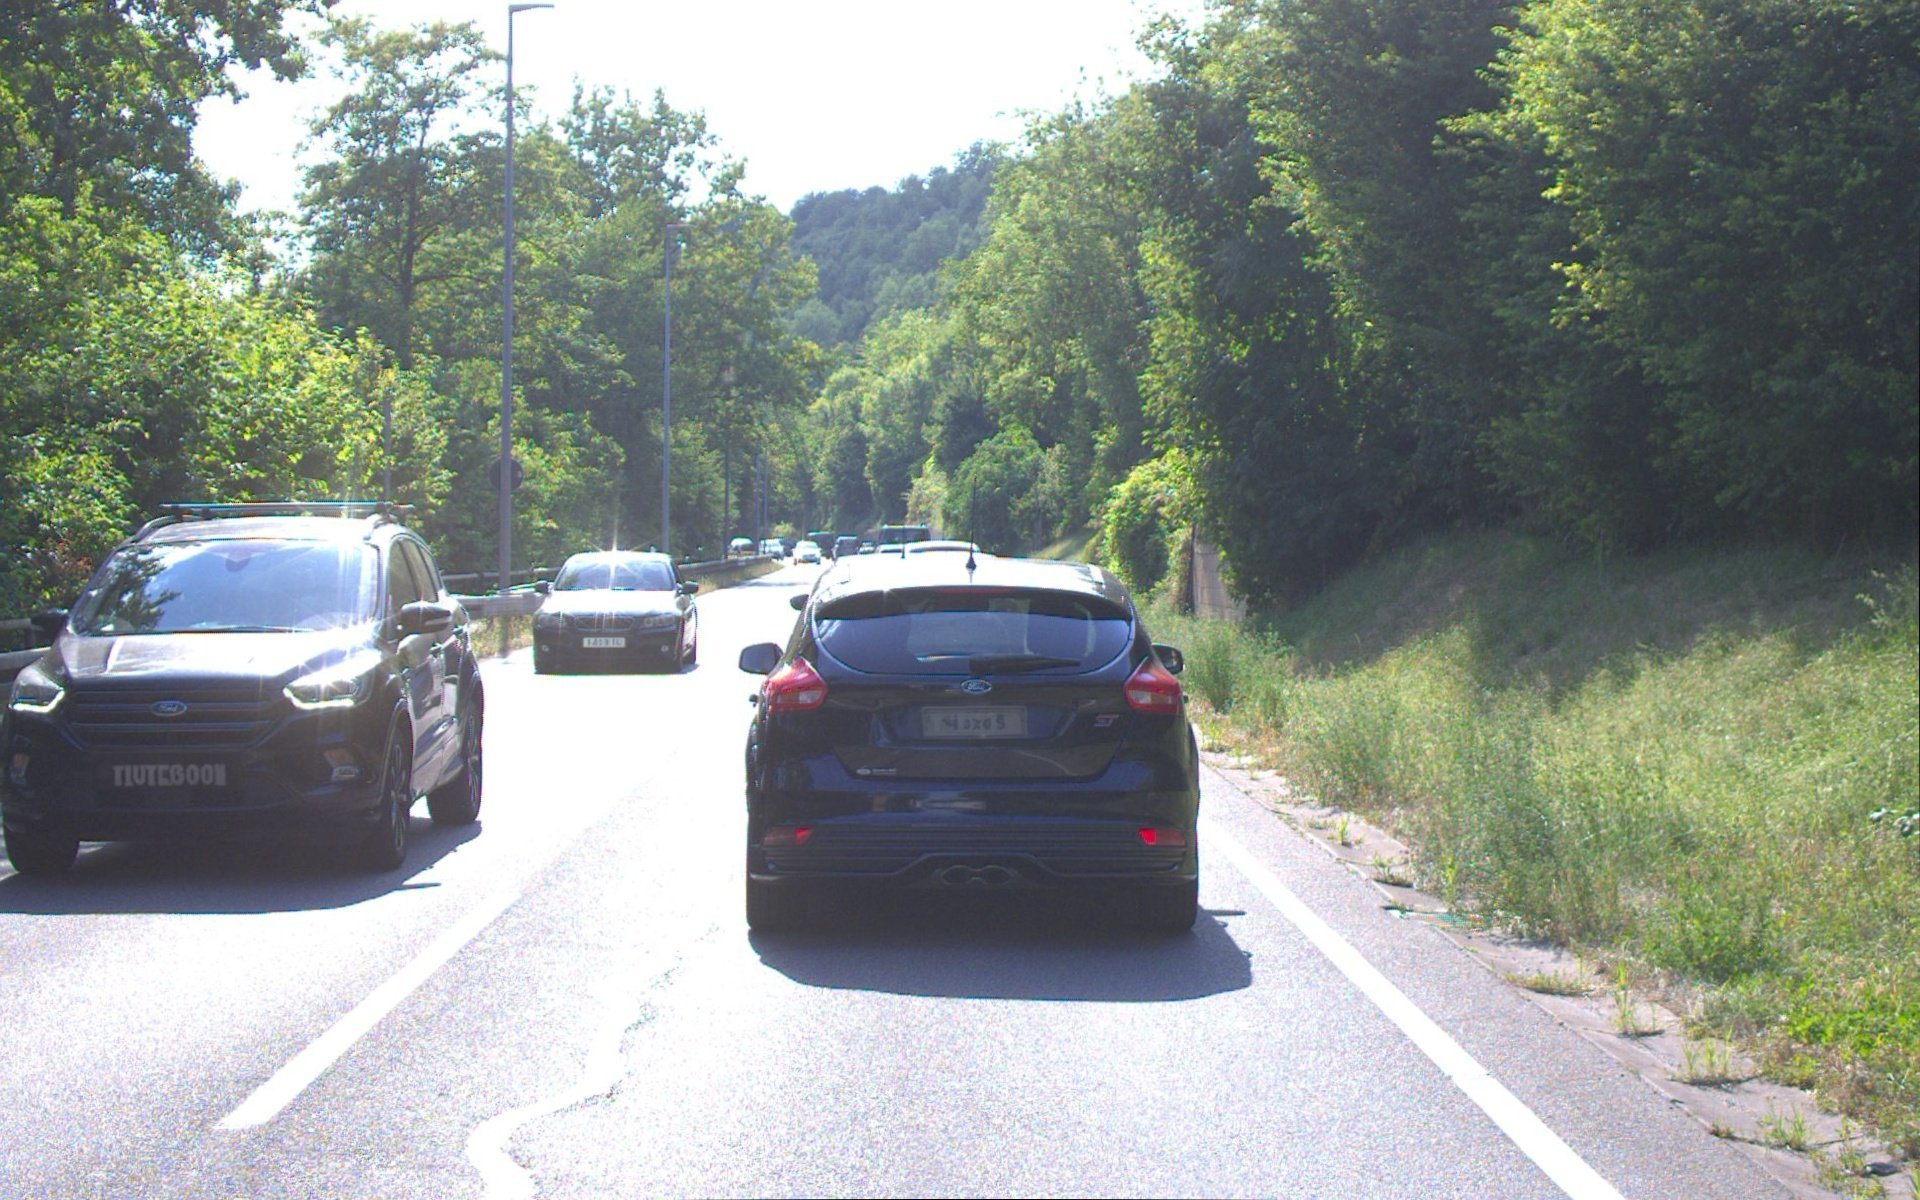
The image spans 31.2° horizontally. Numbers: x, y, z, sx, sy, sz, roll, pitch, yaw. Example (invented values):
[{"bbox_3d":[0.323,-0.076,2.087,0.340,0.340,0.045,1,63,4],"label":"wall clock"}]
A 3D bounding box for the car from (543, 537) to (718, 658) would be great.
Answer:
[{"bbox_3d":[-4.075,-0.064,43.044,1.692,1.415,4.142,-1,1,1],"label":"car"}]

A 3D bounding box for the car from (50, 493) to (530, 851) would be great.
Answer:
[{"bbox_3d":[-3.488,0.307,18.656,1.748,1.711,4.221,0,1,0],"label":"car"}]

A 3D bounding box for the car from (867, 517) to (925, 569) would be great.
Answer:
[{"bbox_3d":[-2.246,-1.994,119.905,1.863,1.774,4.001,0,1,-3],"label":"car"}]

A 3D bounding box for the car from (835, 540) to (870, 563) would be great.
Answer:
[{"bbox_3d":[-7.350,-3.316,235.263,1.993,1.514,4.001,0,1,-8],"label":"car"}]

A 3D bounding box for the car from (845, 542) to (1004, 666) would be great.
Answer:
[{"bbox_3d":[-0.424,0.012,41.036,1.804,1.387,4.000,0,1,-1],"label":"car"}]

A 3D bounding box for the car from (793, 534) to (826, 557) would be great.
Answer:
[{"bbox_3d":[-9.415,-3.429,214.984,1.622,1.372,4.048,-2,1,-7],"label":"car"}]

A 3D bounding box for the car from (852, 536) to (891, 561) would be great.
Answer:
[{"bbox_3d":[-5.515,-3.237,214.135,1.993,1.514,4.001,0,1,-8],"label":"car"}]

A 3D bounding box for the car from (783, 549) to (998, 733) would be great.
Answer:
[{"bbox_3d":[-0.524,0.292,28.856,1.661,1.413,4.000,0,1,1],"label":"car"}]

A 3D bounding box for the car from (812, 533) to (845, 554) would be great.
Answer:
[{"bbox_3d":[-9.600,-4.094,250.242,1.993,1.514,4.001,0,1,-8],"label":"car"}]

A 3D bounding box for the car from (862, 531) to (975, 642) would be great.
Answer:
[{"bbox_3d":[-0.623,-0.237,51.948,1.631,1.590,4.000,0,1,-1],"label":"car"}]

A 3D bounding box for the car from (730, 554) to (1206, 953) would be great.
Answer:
[{"bbox_3d":[0.008,0.539,14.649,1.739,1.451,4.000,0,1,-1],"label":"car"}]

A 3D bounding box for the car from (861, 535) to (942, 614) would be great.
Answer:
[{"bbox_3d":[-1.205,-0.557,71.694,1.631,1.590,4.000,0,1,-1],"label":"car"}]
